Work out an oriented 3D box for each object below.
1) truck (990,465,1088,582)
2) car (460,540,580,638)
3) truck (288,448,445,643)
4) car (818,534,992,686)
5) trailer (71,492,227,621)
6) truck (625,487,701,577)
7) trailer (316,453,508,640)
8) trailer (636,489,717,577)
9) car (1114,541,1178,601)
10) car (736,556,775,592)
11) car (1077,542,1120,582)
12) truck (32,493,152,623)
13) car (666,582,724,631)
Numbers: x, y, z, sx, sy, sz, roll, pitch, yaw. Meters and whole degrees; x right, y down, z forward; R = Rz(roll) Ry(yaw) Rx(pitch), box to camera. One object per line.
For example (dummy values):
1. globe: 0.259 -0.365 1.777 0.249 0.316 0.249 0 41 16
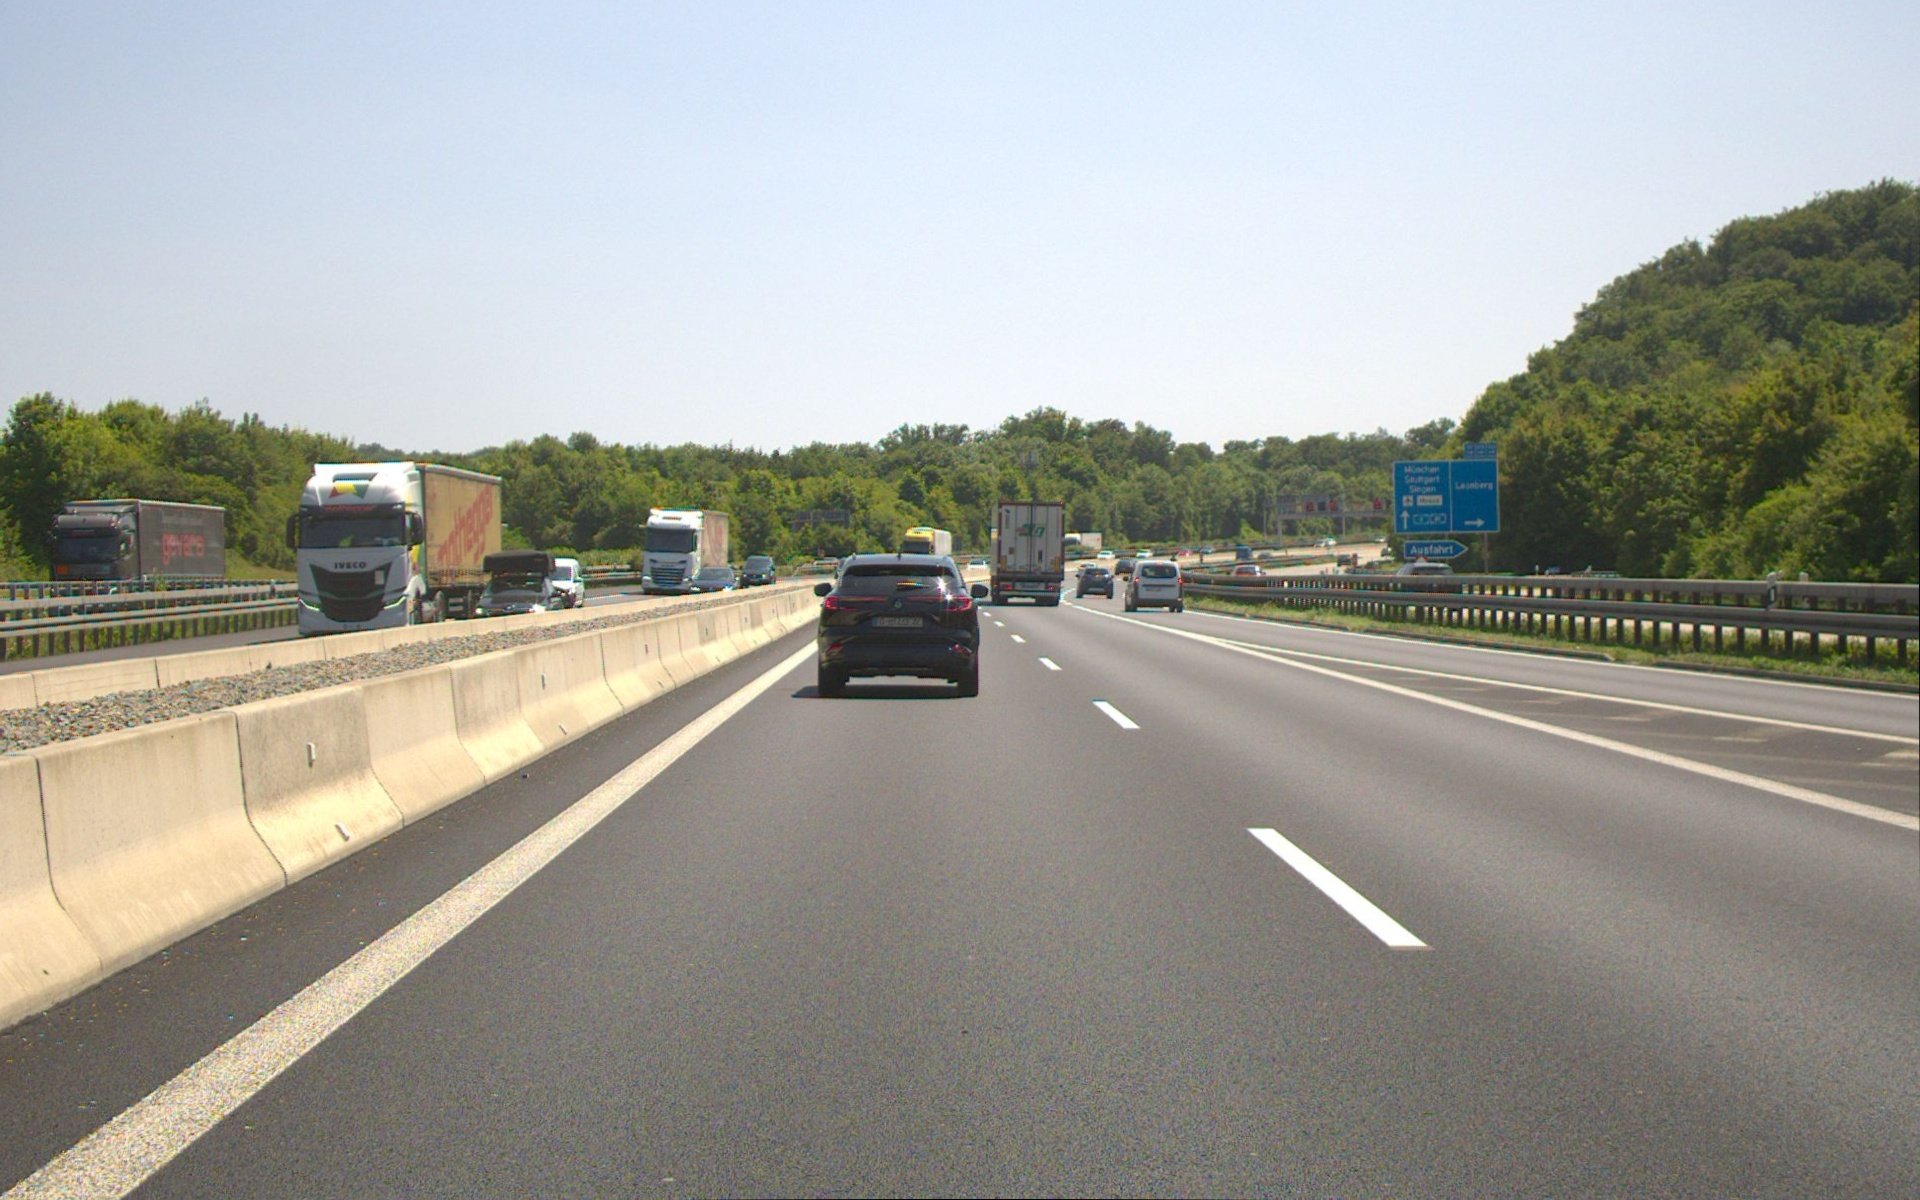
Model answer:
1. truck: 3.253 -2.959 137.248 3.032 4.403 12.016 1 0 5
2. car: -9.431 -0.268 74.056 1.918 2.007 5.347 -1 1 0
3. truck: -13.441 -1.217 78.159 2.706 4.273 4.553 1 0 0
4. car: -0.689 0.094 39.827 1.779 1.572 4.000 3 0 -3
5. trailer: -29.320 -1.539 124.820 2.794 4.418 11.654 1 0 0
6. truck: -13.534 -3.060 157.010 2.928 3.959 5.898 1 0 0
7. trailer: -13.521 -1.279 86.088 2.667 4.258 13.815 1 0 -1
8. trailer: -13.576 -3.144 165.519 2.910 4.031 12.064 1 0 0
9. car: 6.542 -1.045 121.178 1.993 2.007 4.000 -2 1 0
10. car: -11.728 -1.474 197.164 1.993 2.007 4.485 1 0 -1
11. car: 7.142 -1.965 177.363 1.993 2.007 4.000 1 0 0
12. truck: -29.375 -1.411 116.527 2.810 4.258 4.998 1 0 -1
13. car: -10.131 0.241 131.907 1.983 1.820 4.827 1 0 -2
